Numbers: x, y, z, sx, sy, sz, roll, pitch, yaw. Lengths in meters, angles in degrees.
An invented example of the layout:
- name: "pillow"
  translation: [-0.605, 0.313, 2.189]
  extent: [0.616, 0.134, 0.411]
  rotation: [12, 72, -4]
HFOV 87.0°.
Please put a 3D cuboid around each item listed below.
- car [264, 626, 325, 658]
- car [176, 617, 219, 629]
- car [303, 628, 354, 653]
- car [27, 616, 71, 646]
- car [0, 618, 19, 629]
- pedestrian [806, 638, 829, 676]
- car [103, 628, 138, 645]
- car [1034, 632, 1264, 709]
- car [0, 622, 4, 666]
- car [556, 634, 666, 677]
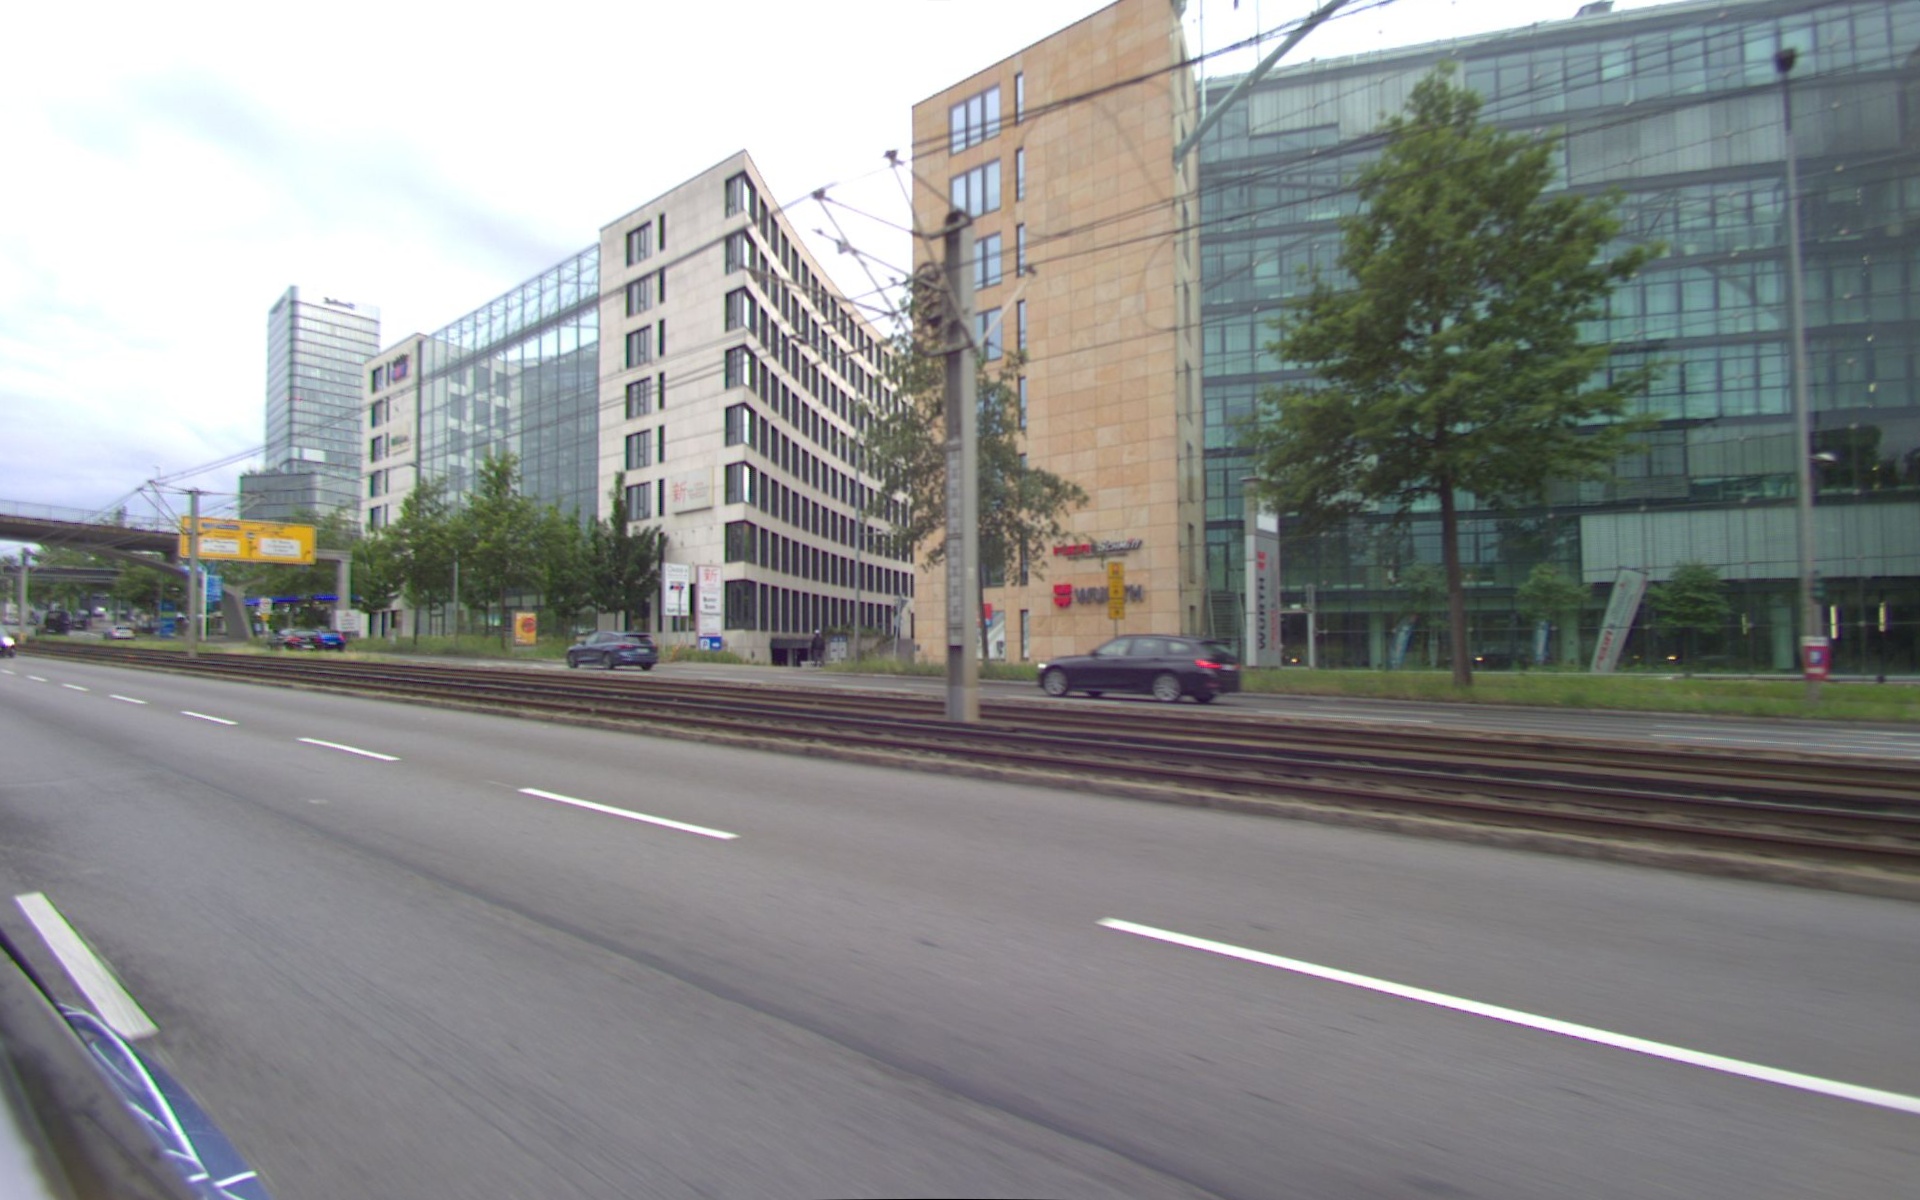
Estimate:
- name: "car"
  translation: [-35.027, 2.180, 53.217]
  extent: [4.200, 1.513, 1.753]
  rotation: [1, 0, 43]
- name: "car"
  translation: [-103.535, 3.139, 137.439]
  extent: [1.885, 1.515, 4.306]
  rotation: [1, 0, 43]
- name: "car"
  translation: [-42.534, 2.708, 68.145]
  extent: [4.023, 1.465, 1.821]
  rotation: [1, 0, 41]
- name: "car"
  translation: [-88.131, 2.984, 97.915]
  extent: [5.606, 2.839, 2.360]
  rotation: [-1, -1, 39]
- name: "car"
  translation: [-140.500, 3.463, 149.442]
  extent: [4.271, 1.545, 1.791]
  rotation: [-1, -1, 40]
- name: "pedestrian"
  translation: [-6.373, 2.537, 45.226]
  extent: [0.831, 1.644, 0.635]
  rotation: [0, 0, 38]
- name: "car"
  translation: [-78.637, 3.380, 94.774]
  extent: [4.813, 1.545, 1.742]
  rotation: [-1, -1, 40]
- name: "car"
  translation: [4.034, 1.509, 22.059]
  extent: [4.651, 1.497, 1.821]
  rotation: [-2, -6, 41]
- name: "car"
  translation: [-44.976, 1.965, 46.071]
  extent: [4.376, 1.882, 1.770]
  rotation: [1, 0, 42]
- name: "car"
  translation: [-13.264, 2.094, 38.346]
  extent: [4.651, 1.497, 1.821]
  rotation: [-2, -6, 41]
